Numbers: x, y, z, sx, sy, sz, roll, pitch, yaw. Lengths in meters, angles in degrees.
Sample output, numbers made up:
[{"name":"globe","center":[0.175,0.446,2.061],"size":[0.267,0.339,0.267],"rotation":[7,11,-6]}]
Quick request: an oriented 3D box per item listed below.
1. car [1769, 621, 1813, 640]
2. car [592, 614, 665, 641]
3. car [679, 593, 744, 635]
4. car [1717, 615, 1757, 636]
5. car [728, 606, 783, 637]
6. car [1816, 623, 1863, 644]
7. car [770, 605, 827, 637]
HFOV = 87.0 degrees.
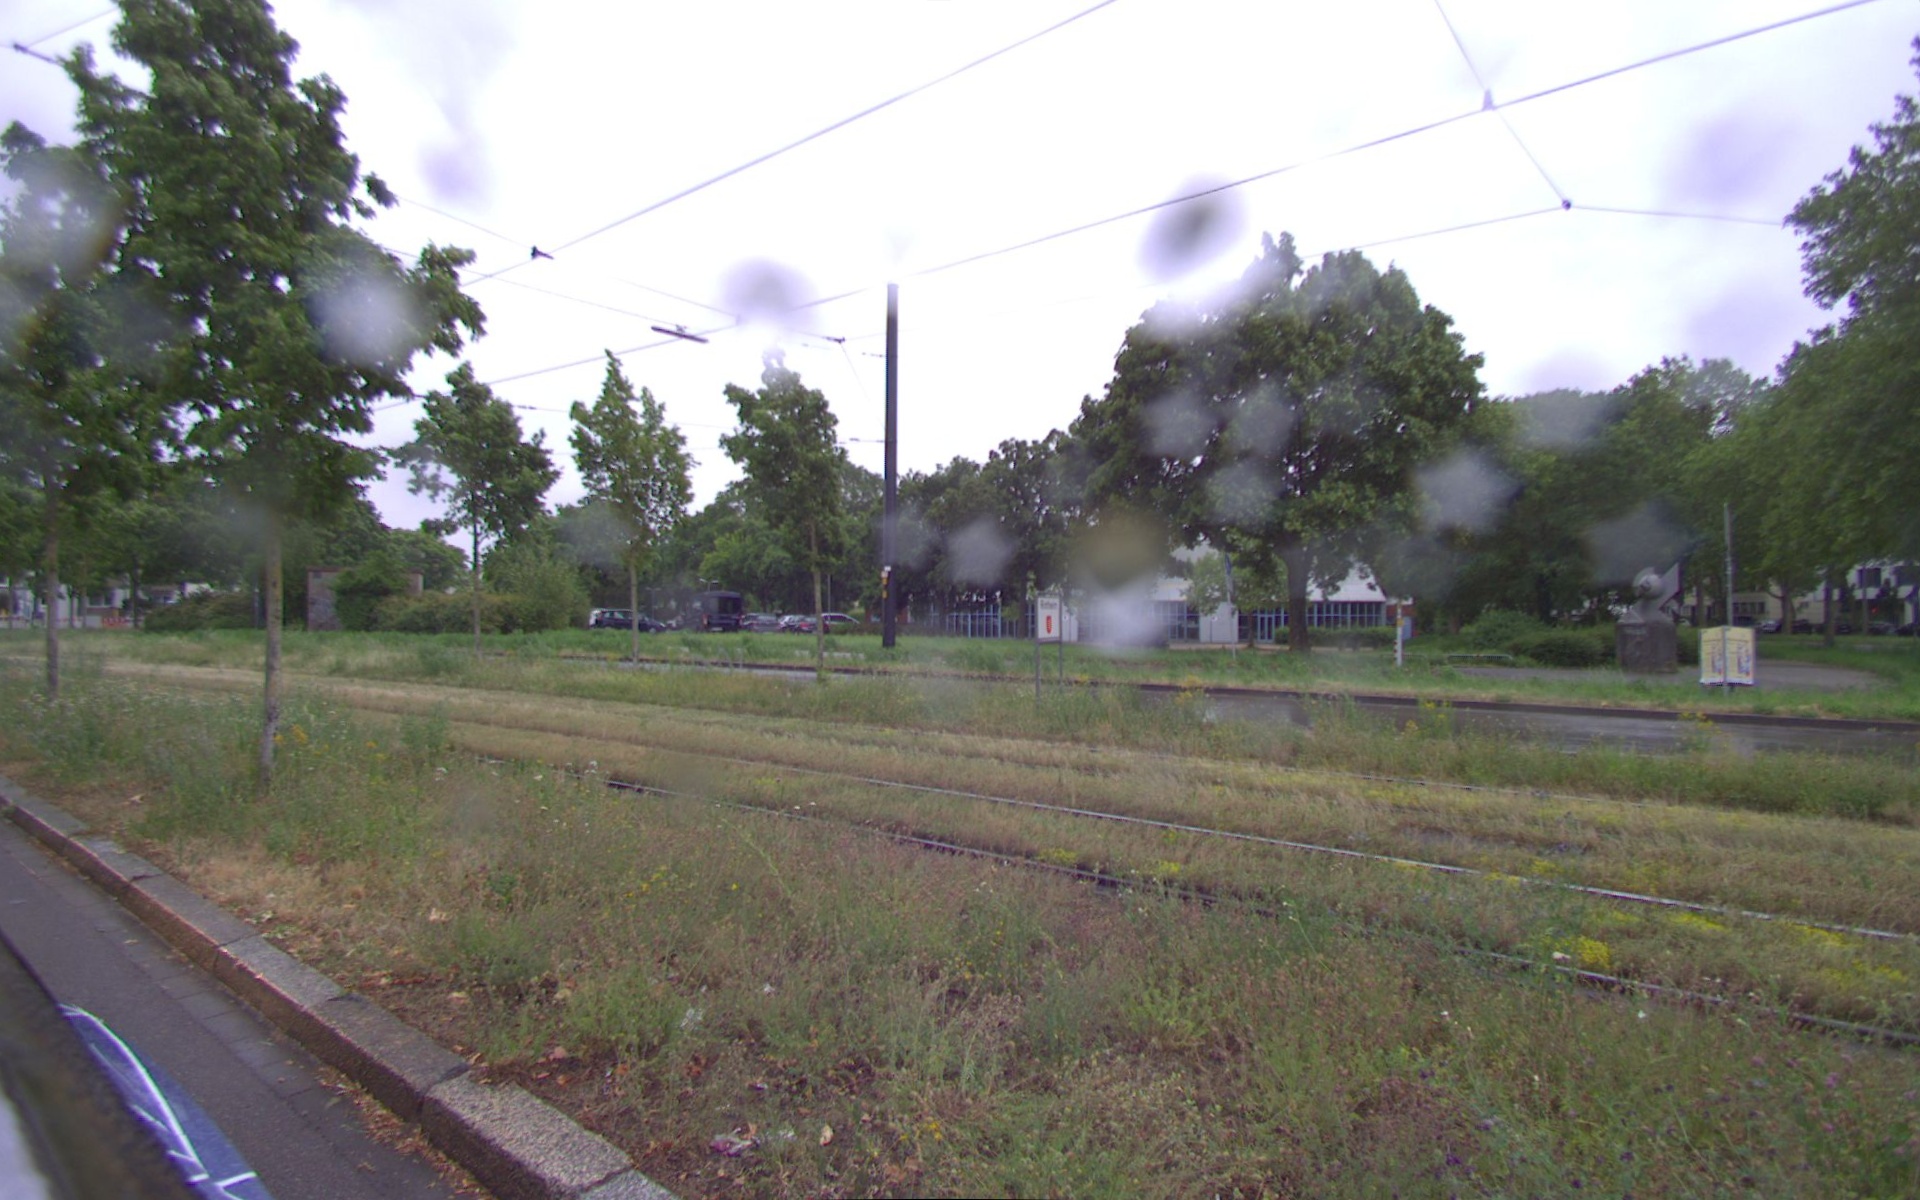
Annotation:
[{"name":"car","center":[82.998,3.013,101.145],"size":[1.982,1.796,3.979],"rotation":[-1,0,16]},{"name":"car","center":[-20.263,1.646,61.906],"size":[4.110,1.494,1.789],"rotation":[-1,0,-23]},{"name":"car","center":[-12.815,0.704,51.933],"size":[2.273,2.029,5.134],"rotation":[-1,0,-25]},{"name":"car","center":[86.369,2.820,112.528],"size":[2.108,2.104,3.982],"rotation":[-1,0,14]},{"name":"car","center":[-10.898,1.096,53.706],"size":[1.726,1.542,4.865],"rotation":[-1,0,-25]},{"name":"car","center":[81.677,3.092,94.048],"size":[1.986,1.796,3.972],"rotation":[-1,0,21]},{"name":"car","center":[-8.752,1.097,54.413],"size":[2.026,1.584,5.032],"rotation":[-1,0,-21]}]
